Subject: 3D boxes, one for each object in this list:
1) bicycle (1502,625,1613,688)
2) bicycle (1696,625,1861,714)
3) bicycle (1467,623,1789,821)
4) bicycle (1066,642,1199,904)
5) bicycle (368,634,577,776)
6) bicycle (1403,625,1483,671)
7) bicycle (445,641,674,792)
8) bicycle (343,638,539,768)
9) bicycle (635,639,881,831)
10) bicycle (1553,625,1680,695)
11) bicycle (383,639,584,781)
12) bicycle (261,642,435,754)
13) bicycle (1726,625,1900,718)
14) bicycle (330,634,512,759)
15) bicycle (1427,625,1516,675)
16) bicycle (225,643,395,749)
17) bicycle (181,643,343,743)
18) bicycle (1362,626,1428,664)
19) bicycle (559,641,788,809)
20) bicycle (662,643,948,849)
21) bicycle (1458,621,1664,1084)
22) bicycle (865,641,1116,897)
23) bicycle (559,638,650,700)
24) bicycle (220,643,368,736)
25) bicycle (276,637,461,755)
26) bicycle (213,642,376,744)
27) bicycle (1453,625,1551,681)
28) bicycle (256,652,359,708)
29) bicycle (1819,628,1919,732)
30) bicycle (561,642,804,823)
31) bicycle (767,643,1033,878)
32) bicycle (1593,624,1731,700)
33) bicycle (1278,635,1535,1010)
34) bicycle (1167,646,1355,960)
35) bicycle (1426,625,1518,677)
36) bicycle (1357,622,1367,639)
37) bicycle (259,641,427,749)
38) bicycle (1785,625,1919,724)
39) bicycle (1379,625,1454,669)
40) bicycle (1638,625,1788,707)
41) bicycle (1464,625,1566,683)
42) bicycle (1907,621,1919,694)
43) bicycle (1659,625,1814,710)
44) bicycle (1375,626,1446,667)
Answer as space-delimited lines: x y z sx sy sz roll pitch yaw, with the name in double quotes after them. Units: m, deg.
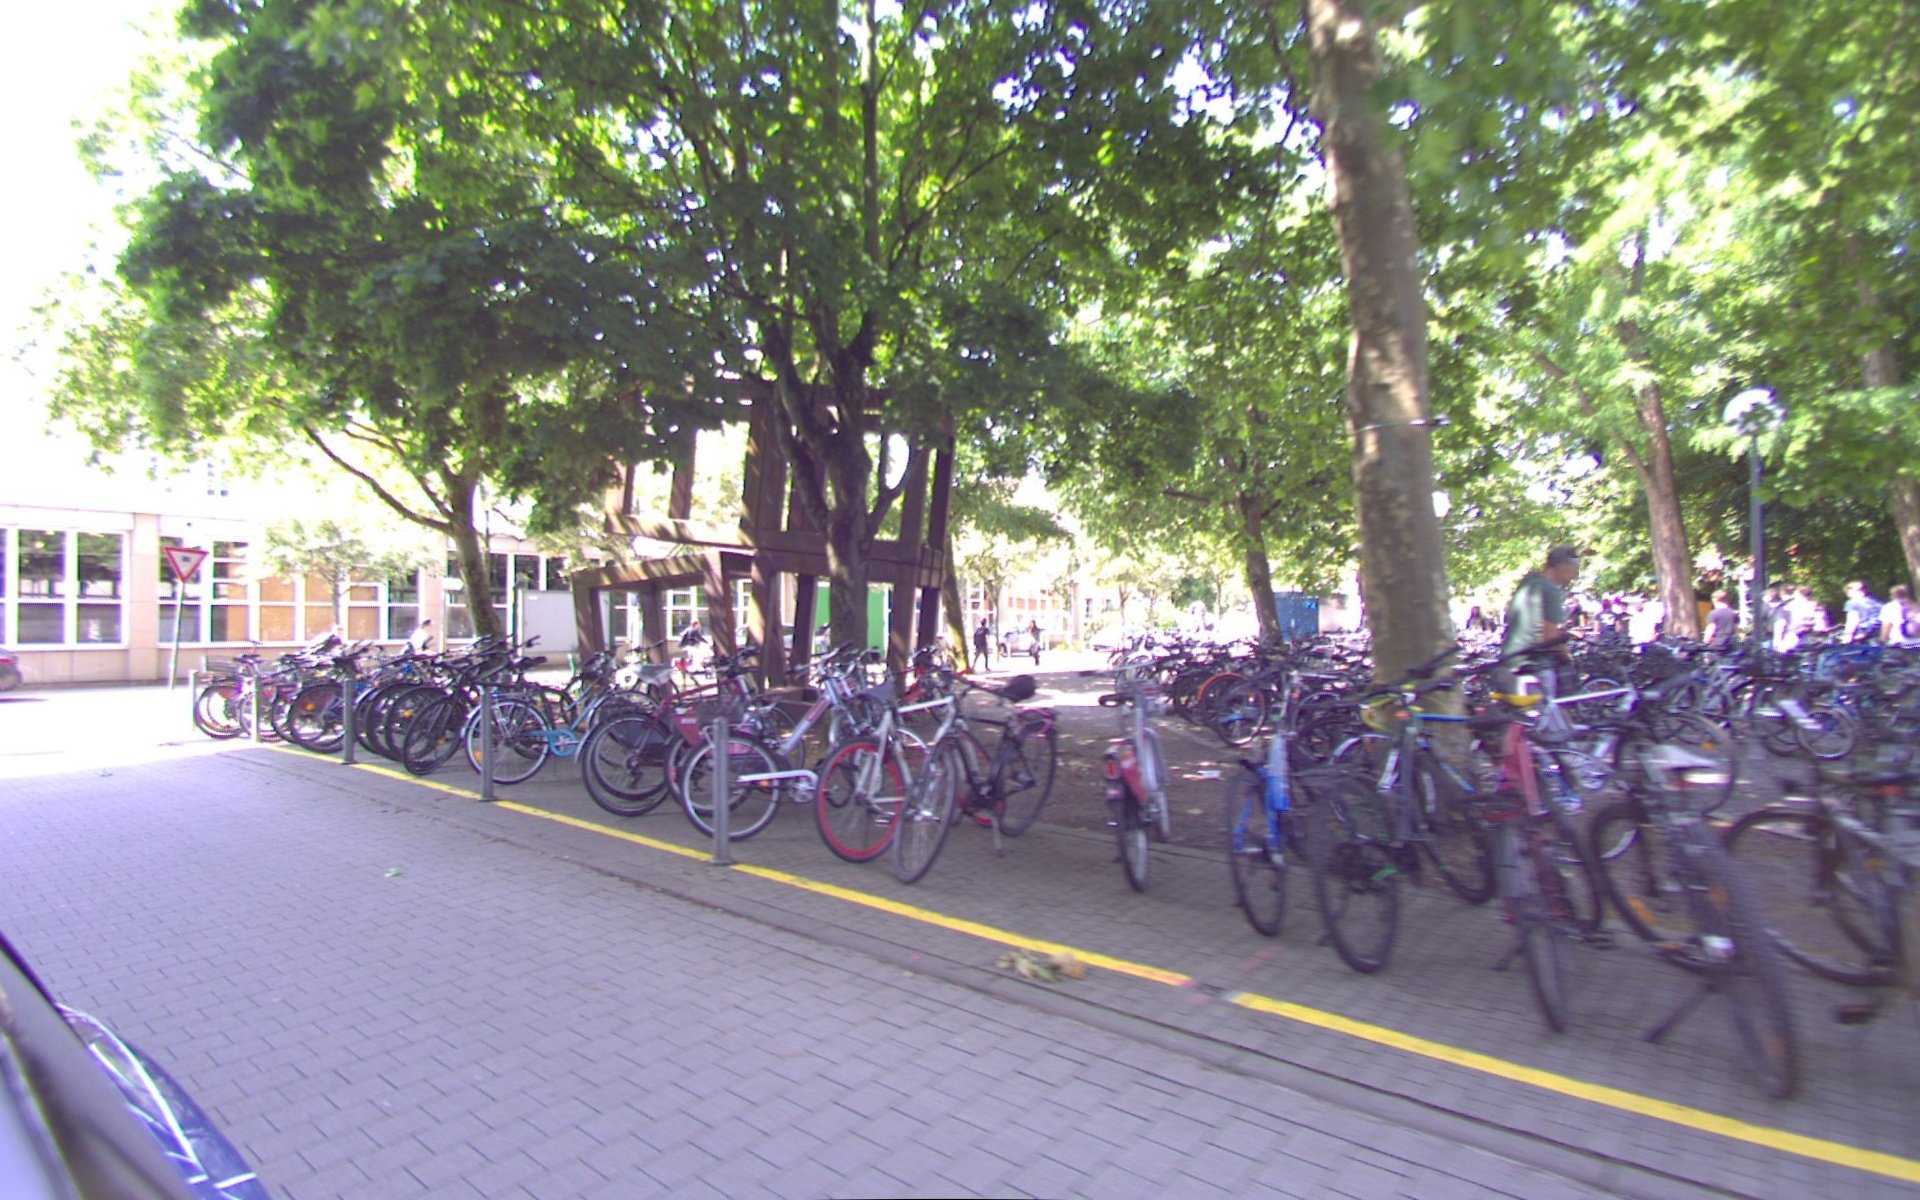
10.837 1.022 18.380 1.676 1.092 0.474 -1 -1 2 "bicycle"
10.524 0.886 13.041 1.676 1.092 0.474 -1 -1 2 "bicycle"
4.325 0.772 6.630 1.676 1.209 0.575 -1 -1 2 "bicycle"
0.983 0.819 5.470 0.493 1.116 1.731 -1 -1 17 "bicycle"
-4.563 0.934 9.600 0.496 1.170 1.764 -1 -1 35 "bicycle"
11.808 1.179 24.783 1.682 1.092 0.472 -1 -1 12 "bicycle"
-3.417 0.941 8.702 1.699 1.116 0.720 0 -1 -39 "bicycle"
-5.072 0.962 9.981 0.644 1.116 1.610 -1 -1 36 "bicycle"
-1.369 0.872 7.020 1.603 1.152 0.498 0 -1 -36 "bicycle"
10.557 0.957 16.296 1.676 1.092 0.474 -1 -1 2 "bicycle"
-4.271 0.945 9.178 0.496 1.116 1.610 -1 -1 35 "bicycle"
-6.853 1.064 11.392 1.605 1.116 0.497 0 -1 -45 "bicycle"
10.465 0.865 12.449 1.676 1.092 0.474 -1 -1 2 "bicycle"
-5.585 0.959 10.563 0.497 1.159 1.607 -1 -1 41 "bicycle"
11.432 1.126 22.670 1.682 1.092 0.472 -1 -1 12 "bicycle"
-7.731 1.103 12.082 0.630 1.116 1.606 -1 -1 45 "bicycle"
-8.714 1.132 12.675 1.605 1.116 0.497 0 -1 -45 "bicycle"
12.653 1.307 29.450 1.682 1.092 0.472 -1 -1 12 "bicycle"
-2.188 0.908 7.826 1.603 1.116 0.564 0 -1 -36 "bicycle"
-0.968 0.866 6.485 1.711 1.116 0.576 0 -1 -30 "bicycle"
2.199 0.716 3.656 0.495 1.245 1.721 -1 -1 33 "bicycle"
0.234 0.828 5.595 0.496 1.135 1.719 -1 -1 36 "bicycle"
-7.028 1.344 20.101 0.392 1.116 1.818 -1 -1 34 "bicycle"
-8.763 1.152 13.350 1.603 1.116 0.498 0 -3 -38 "bicycle"
-6.337 0.985 10.888 1.605 1.116 0.691 0 -1 -45 "bicycle"
-8.156 1.107 12.451 1.605 1.116 0.497 0 -1 -45 "bicycle"
11.039 1.077 20.638 1.679 1.092 0.473 -1 -1 8 "bicycle"
-14.344 1.737 22.284 0.605 1.116 1.805 0 -1 42 "bicycle"
10.462 0.863 11.056 1.676 1.092 0.474 -1 -1 2 "bicycle"
-1.962 0.893 7.266 1.603 1.116 0.498 0 -1 -36 "bicycle"
-0.289 0.846 5.936 0.497 1.116 1.717 -1 -1 41 "bicycle"
10.491 0.921 15.155 1.676 1.092 0.474 -1 -1 2 "bicycle"
1.903 0.763 4.172 0.496 1.187 1.717 -1 -1 40 "bicycle"
1.463 0.811 4.718 0.495 1.116 1.724 -1 -1 28 "bicycle"
11.026 1.100 21.834 1.682 1.092 0.472 -1 -1 12 "bicycle"
26.700 2.018 67.153 0.470 1.092 1.690 -1 -1 18 "bicycle"
-7.191 1.072 11.839 1.605 1.116 0.506 0 -1 -45 "bicycle"
10.546 0.846 11.632 1.676 1.092 0.474 -1 -1 2 "bicycle"
11.866 1.223 26.343 1.682 1.092 0.472 -1 -1 12 "bicycle"
10.497 0.914 14.135 1.676 1.092 0.474 -1 -1 2 "bicycle"
10.792 1.051 19.710 1.676 1.092 0.474 -1 -1 2 "bicycle"
15.776 0.882 15.725 1.750 1.118 0.518 -1 -1 -7 "bicycle"
10.442 0.901 13.637 1.676 1.092 0.474 -1 -1 2 "bicycle"
12.174 1.251 27.384 1.682 1.092 0.472 -1 -1 12 "bicycle"
